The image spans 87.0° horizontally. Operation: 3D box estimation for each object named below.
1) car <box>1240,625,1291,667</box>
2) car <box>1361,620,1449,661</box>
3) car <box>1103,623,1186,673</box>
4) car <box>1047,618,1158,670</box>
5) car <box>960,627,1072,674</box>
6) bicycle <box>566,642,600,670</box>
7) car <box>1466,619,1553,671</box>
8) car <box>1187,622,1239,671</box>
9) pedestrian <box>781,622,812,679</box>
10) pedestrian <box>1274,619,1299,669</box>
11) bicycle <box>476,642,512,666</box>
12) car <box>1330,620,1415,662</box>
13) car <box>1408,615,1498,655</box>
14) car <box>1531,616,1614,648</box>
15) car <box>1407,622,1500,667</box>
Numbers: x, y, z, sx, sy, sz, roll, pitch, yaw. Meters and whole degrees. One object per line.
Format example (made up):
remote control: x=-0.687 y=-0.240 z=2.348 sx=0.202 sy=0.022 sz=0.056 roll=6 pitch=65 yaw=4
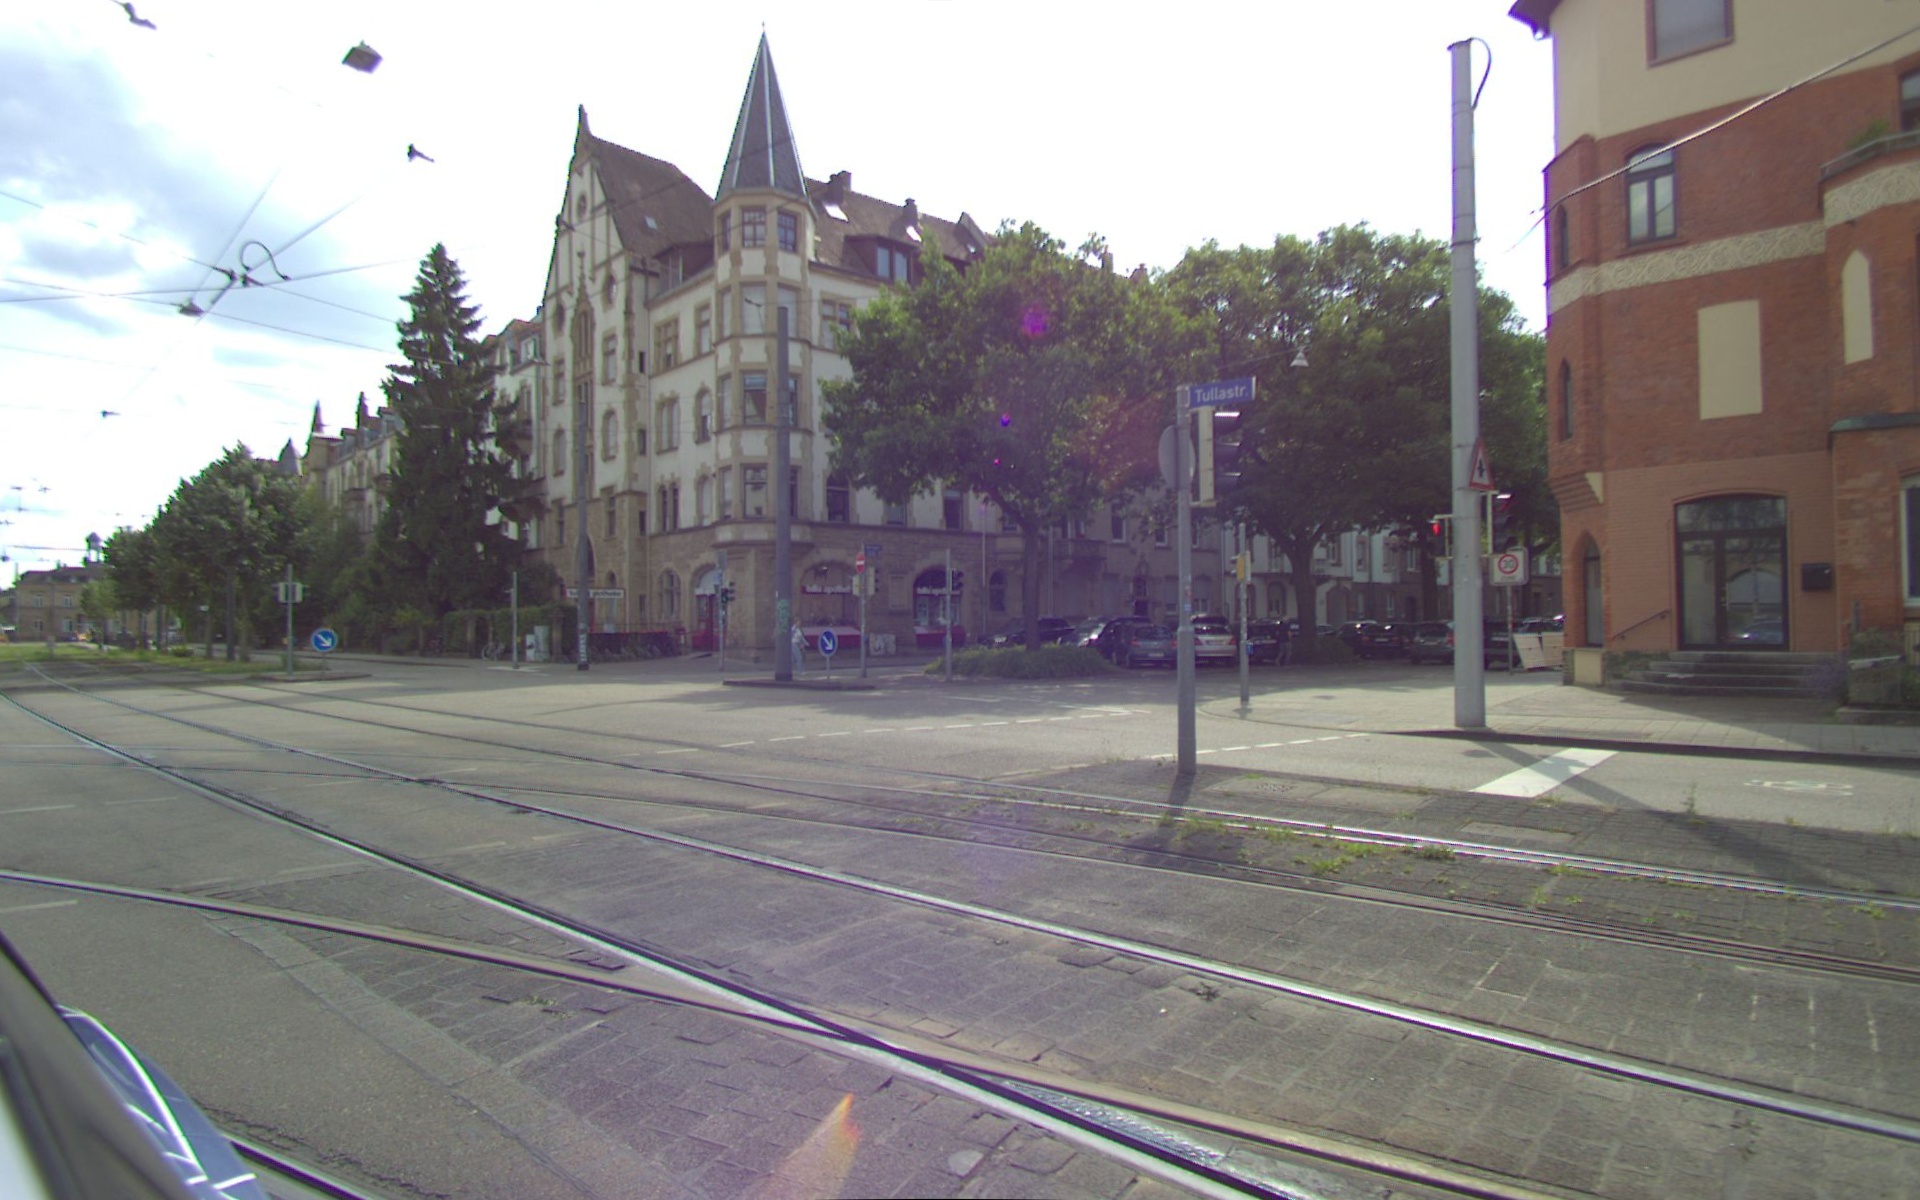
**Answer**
car: x=10.935 y=1.628 z=36.417 sx=1.609 sy=1.409 sz=3.553 roll=0 pitch=-1 yaw=14
car: x=19.052 y=1.731 z=43.554 sx=1.898 sy=1.701 sz=4.001 roll=0 pitch=-2 yaw=-2
car: x=6.133 y=1.563 z=34.147 sx=1.972 sy=1.557 sz=4.228 roll=1 pitch=-2 yaw=-1
car: x=5.361 y=1.631 z=37.993 sx=3.937 sy=1.835 sz=2.003 roll=2 pitch=-3 yaw=-40
car: x=2.220 y=1.921 z=39.272 sx=4.202 sy=1.698 sz=2.002 roll=2 pitch=-3 yaw=-43
bicycle: x=-14.401 y=2.142 z=38.601 sx=1.630 sy=0.979 sz=0.583 roll=0 pitch=-1 yaw=45
car: x=17.552 y=1.392 z=32.259 sx=1.556 sy=1.557 sz=3.678 roll=-1 pitch=-2 yaw=43
car: x=8.727 y=1.561 z=34.861 sx=1.632 sy=1.557 sz=3.713 roll=1 pitch=-2 yaw=15
pedestrian: x=-5.073 y=1.556 z=31.403 sx=0.920 sy=1.754 sz=0.771 roll=0 pitch=-2 yaw=-11
pedestrian: x=11.185 y=1.497 z=34.650 sx=0.739 sy=1.693 sz=0.794 roll=-1 pitch=-3 yaw=21
bicycle: x=-19.654 y=2.280 z=42.686 sx=2.337 sy=0.979 sz=0.616 roll=-3 pitch=-3 yaw=45
car: x=16.789 y=1.659 z=41.402 sx=1.974 sy=1.608 sz=3.995 roll=-1 pitch=-2 yaw=3
car: x=23.498 y=1.676 z=48.333 sx=3.750 sy=1.837 sz=1.982 roll=-2 pitch=-2 yaw=26
car: x=34.148 y=1.796 z=56.537 sx=3.750 sy=1.673 sz=1.982 roll=-2 pitch=-2 yaw=26
car: x=17.807 y=1.600 z=36.446 sx=3.673 sy=1.557 sz=1.677 roll=2 pitch=-4 yaw=-41
